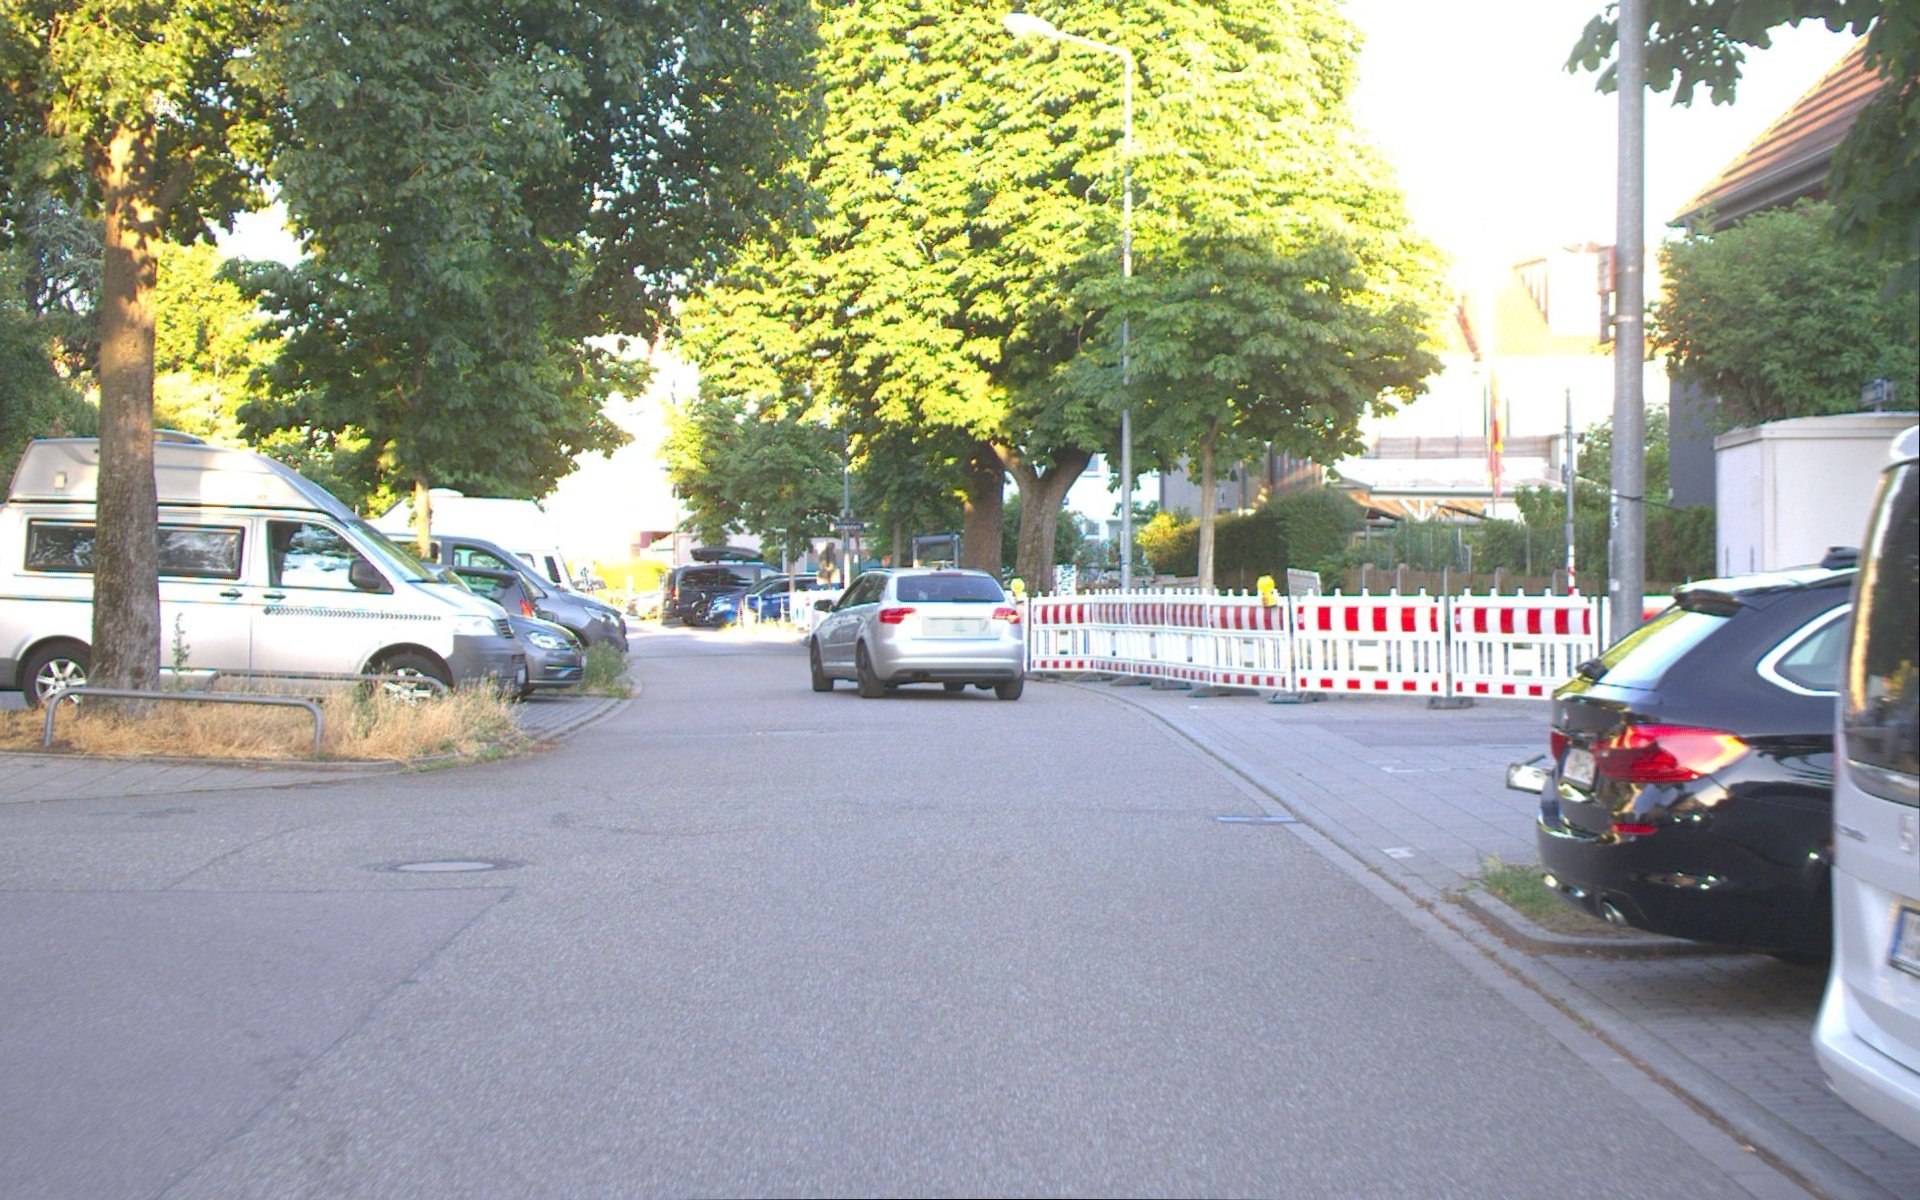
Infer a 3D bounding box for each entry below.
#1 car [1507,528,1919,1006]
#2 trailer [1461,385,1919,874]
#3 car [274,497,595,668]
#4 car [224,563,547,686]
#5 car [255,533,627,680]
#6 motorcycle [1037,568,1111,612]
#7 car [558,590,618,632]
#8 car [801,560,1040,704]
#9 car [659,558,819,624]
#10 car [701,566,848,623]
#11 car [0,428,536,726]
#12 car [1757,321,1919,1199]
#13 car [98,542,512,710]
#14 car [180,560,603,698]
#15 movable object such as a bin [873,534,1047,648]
[{"bbox_3d":[4.201,0.524,11.632,4.427,1.494,1.773,0,0,1],"label":"car"},{"bbox_3d":[4.520,0.129,16.376,3.987,2.180,2.000,0,0,1],"label":"trailer"},{"bbox_3d":[-7.561,-0.247,49.826,4.501,2.423,2.000,0,0,-6],"label":"car"},{"bbox_3d":[-6.991,0.290,42.109,3.768,1.434,1.656,1,0,-5],"label":"car"},{"bbox_3d":[-6.701,0.083,44.736,4.672,1.867,2.000,0,0,-6],"label":"car"},{"bbox_3d":[2.931,-0.258,88.383,1.840,1.102,0.581,0,0,-21],"label":"motorcycle"},{"bbox_3d":[-13.349,0.392,123.256,1.729,1.478,3.558,0,0,-13],"label":"car"},{"bbox_3d":[-0.496,0.314,37.880,1.807,1.483,4.001,0,1,-13],"label":"car"},{"bbox_3d":[-6.824,-0.284,106.031,4.555,2.016,2.102,0,0,-17],"label":"car"},{"bbox_3d":[-5.475,-0.154,101.293,3.986,1.645,1.765,0,0,-19],"label":"car"},{"bbox_3d":[-6.286,-0.206,30.664,4.731,2.561,2.000,0,0,1],"label":"car"},{"bbox_3d":[3.853,0.413,7.005,3.987,1.897,2.000,0,0,0],"label":"car"},{"bbox_3d":[-6.455,0.254,34.173,3.803,1.517,1.653,2,0,-3],"label":"car"},{"bbox_3d":[-6.029,0.306,36.805,4.244,1.389,1.684,1,0,-1],"label":"car"},{"bbox_3d":[-0.059,-0.205,74.957,2.627,2.394,5.199,0,0,-14],"label":"movable object such as a bin"}]
